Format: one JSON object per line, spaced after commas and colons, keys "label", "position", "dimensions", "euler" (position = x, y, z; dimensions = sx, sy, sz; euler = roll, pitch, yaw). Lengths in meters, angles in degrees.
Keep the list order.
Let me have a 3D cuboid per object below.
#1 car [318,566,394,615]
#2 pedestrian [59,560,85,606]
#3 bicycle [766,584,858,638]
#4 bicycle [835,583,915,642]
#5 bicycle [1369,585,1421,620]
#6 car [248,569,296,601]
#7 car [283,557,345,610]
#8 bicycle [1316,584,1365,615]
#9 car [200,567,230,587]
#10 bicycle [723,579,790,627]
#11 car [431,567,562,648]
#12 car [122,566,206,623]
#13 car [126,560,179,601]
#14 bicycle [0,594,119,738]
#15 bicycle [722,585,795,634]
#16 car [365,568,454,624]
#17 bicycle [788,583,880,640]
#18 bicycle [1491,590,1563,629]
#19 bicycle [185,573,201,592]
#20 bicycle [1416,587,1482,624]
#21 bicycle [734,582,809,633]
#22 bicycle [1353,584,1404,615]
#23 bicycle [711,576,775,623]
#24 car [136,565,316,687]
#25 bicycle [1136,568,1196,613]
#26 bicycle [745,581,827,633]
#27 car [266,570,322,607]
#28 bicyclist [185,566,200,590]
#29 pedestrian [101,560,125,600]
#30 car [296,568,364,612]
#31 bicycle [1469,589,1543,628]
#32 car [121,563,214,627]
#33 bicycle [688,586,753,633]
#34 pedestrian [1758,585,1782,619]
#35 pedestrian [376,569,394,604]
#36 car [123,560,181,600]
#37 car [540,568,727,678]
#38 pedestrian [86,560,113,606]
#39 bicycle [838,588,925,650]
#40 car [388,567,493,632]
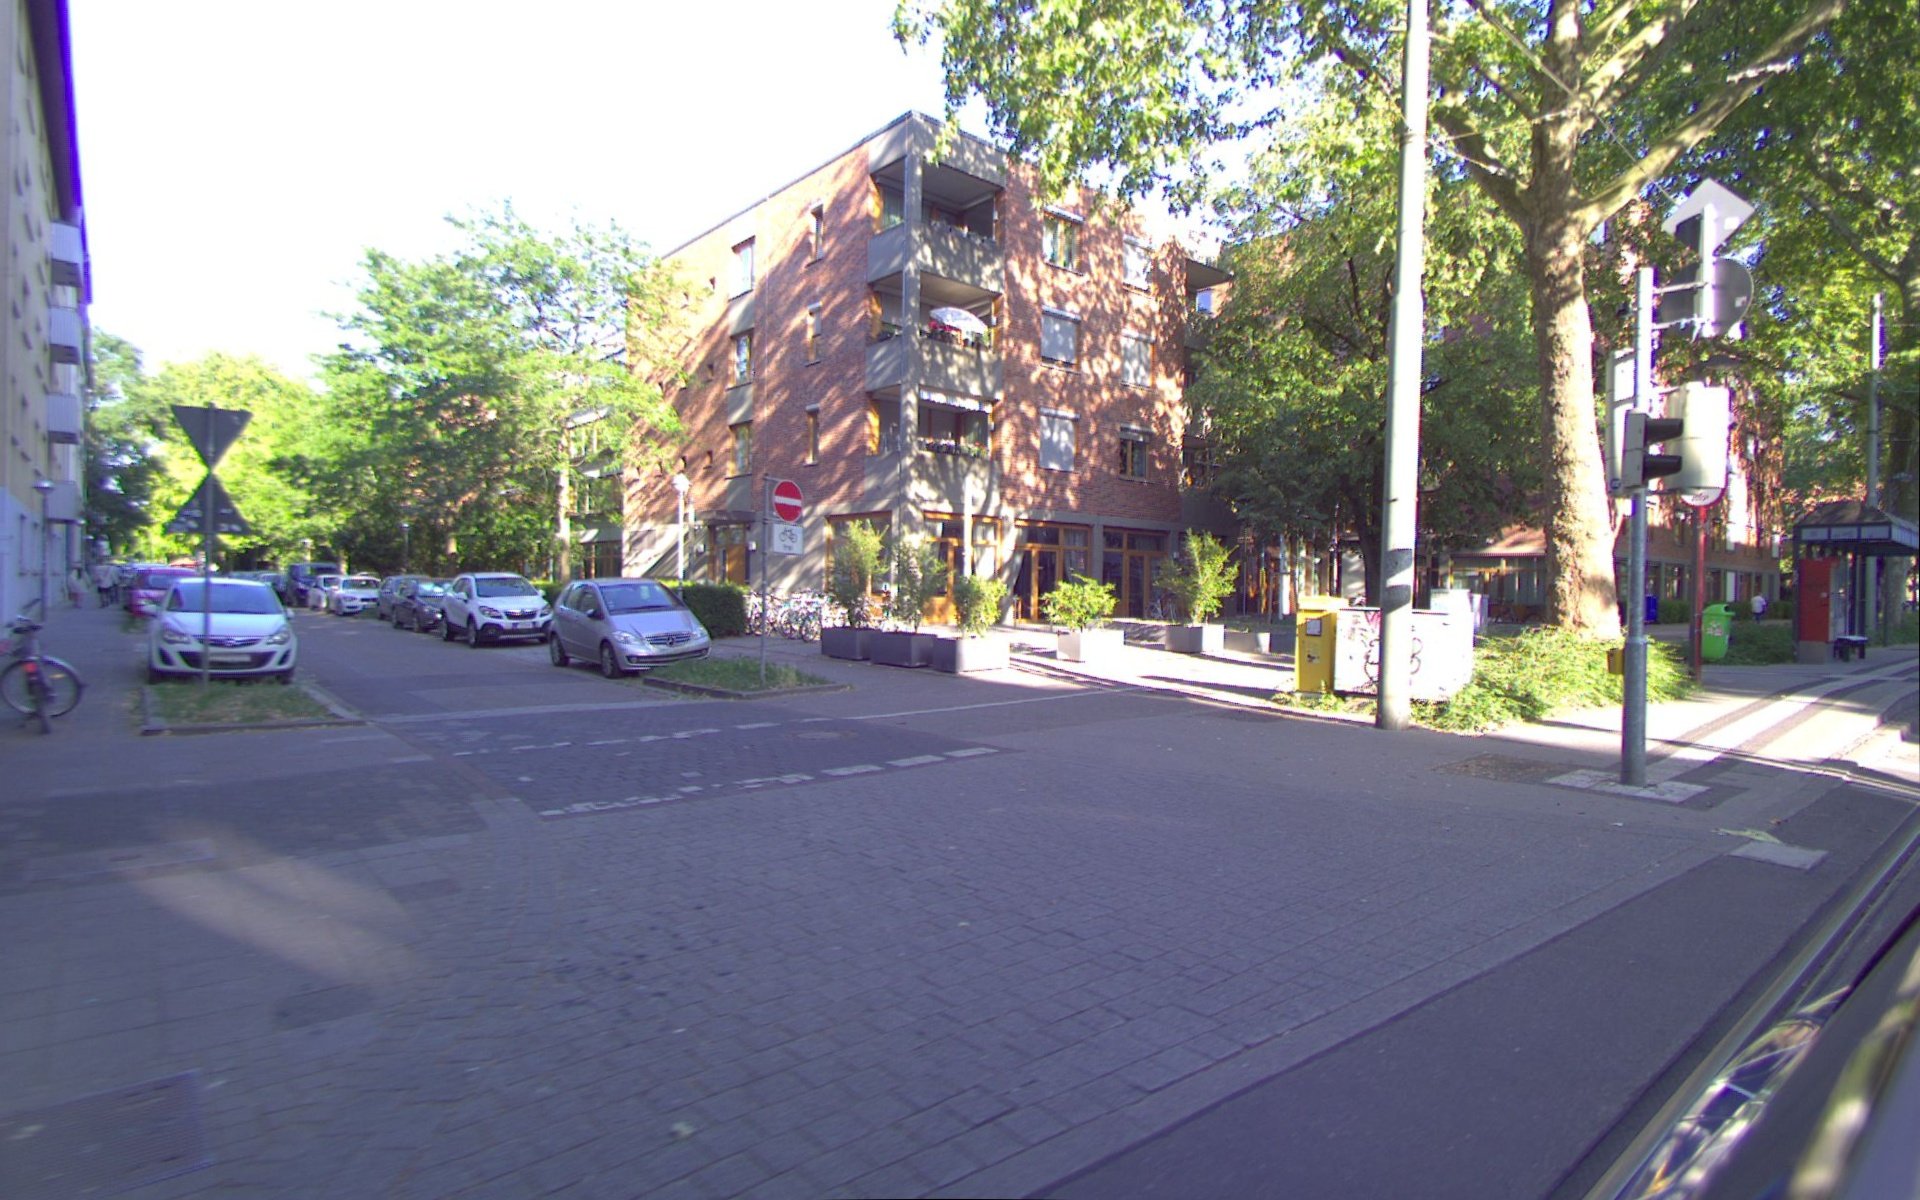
{"label": "car", "position": [-22.584, -0.381, 37.780], "dimensions": [1.833, 1.714, 3.869], "euler": [0, 1, -40]}
{"label": "pedestrian", "position": [-31.319, -0.604, 35.683], "dimensions": [0.770, 1.605, 0.645], "euler": [1, 1, 44]}
{"label": "bicycle", "position": [-3.417, 0.240, 23.414], "dimensions": [2.015, 1.171, 0.732], "euler": [0, 3, -41]}
{"label": "bicycle", "position": [-1.790, 0.244, 21.460], "dimensions": [0.600, 1.171, 1.670], "euler": [3, 3, 45]}
{"label": "bicycle", "position": [15.874, 0.090, 36.963], "dimensions": [0.561, 1.171, 1.684], "euler": [0, 3, -35]}
{"label": "car", "position": [-38.566, -0.838, 56.724], "dimensions": [1.833, 1.714, 3.869], "euler": [0, 1, -40]}
{"label": "car", "position": [-28.885, -0.767, 45.204], "dimensions": [1.833, 2.260, 3.869], "euler": [0, 1, -40]}
{"label": "bicycle", "position": [15.302, -0.022, 40.709], "dimensions": [1.997, 1.171, 0.709], "euler": [0, 2, -31]}
{"label": "car", "position": [-64.730, -1.993, 87.924], "dimensions": [1.833, 1.714, 3.869], "euler": [0, 1, -40]}
{"label": "bicycle", "position": [-5.232, 0.071, 26.082], "dimensions": [0.563, 1.171, 1.670], "euler": [3, 3, 44]}
{"label": "car", "position": [-10.966, 0.112, 23.799], "dimensions": [1.833, 1.714, 3.869], "euler": [0, 1, -40]}
{"label": "car", "position": [-24.478, -0.190, 31.072], "dimensions": [1.833, 1.572, 3.869], "euler": [3, -1, -40]}
{"label": "car", "position": [-39.561, -0.974, 49.565], "dimensions": [1.833, 1.830, 3.869], "euler": [3, -1, -40]}
{"label": "bicycle", "position": [-8.842, 0.572, 9.592], "dimensions": [1.781, 1.171, 0.739], "euler": [3, 2, 28]}
{"label": "bicycle", "position": [-5.042, 0.230, 25.355], "dimensions": [1.668, 1.171, 0.662], "euler": [0, 3, -42]}
{"label": "car", "position": [-18.119, -0.159, 33.227], "dimensions": [1.833, 1.714, 3.869], "euler": [0, 1, -40]}
{"label": "bicycle", "position": [-2.762, 0.241, 22.268], "dimensions": [1.946, 1.171, 0.638], "euler": [0, 3, -38]}
{"label": "bicycle", "position": [18.761, 0.290, 33.520], "dimensions": [0.560, 1.171, 2.041], "euler": [1, 3, -30]}
{"label": "bicycle", "position": [-44.068, -0.986, 58.134], "dimensions": [0.640, 1.069, 1.542], "euler": [0, 1, -41]}
{"label": "bicycle", "position": [17.095, 0.177, 35.420], "dimensions": [0.561, 1.171, 2.039], "euler": [0, 3, -35]}
{"label": "bicycle", "position": [-4.606, 0.166, 24.769], "dimensions": [1.668, 1.171, 0.662], "euler": [0, 3, -42]}
{"label": "bicycle", "position": [17.546, -0.034, 42.405], "dimensions": [1.930, 1.171, 0.727], "euler": [3, 2, 25]}
{"label": "bicycle", "position": [-5.673, -0.036, 26.556], "dimensions": [0.519, 1.171, 1.674], "euler": [3, 3, 39]}
{"label": "car", "position": [-11.011, 0.322, 15.082], "dimensions": [1.833, 1.572, 3.869], "euler": [3, -1, -40]}
{"label": "bicycle", "position": [5.714, -0.283, 28.197], "dimensions": [0.560, 1.171, 1.939], "euler": [1, 2, -25]}
{"label": "bicycle", "position": [-4.118, 0.159, 24.059], "dimensions": [1.819, 1.171, 0.662], "euler": [0, 3, -42]}
{"label": "car", "position": [-32.121, -0.587, 48.774], "dimensions": [1.833, 1.714, 3.869], "euler": [0, 1, -40]}
{"label": "bicyclist", "position": [-44.062, -1.283, 58.132], "dimensions": [0.640, 1.361, 0.697], "euler": [0, 1, -41]}
{"label": "pedestrian", "position": [-34.210, -0.814, 40.857], "dimensions": [0.770, 1.605, 0.679], "euler": [1, 1, 44]}
{"label": "car", "position": [-25.878, -0.445, 41.538], "dimensions": [1.833, 1.714, 3.869], "euler": [0, 1, -40]}
{"label": "bicycle", "position": [17.899, 0.266, 33.208], "dimensions": [0.562, 1.171, 2.036], "euler": [0, 3, -39]}
{"label": "car", "position": [-21.881, -0.162, 27.892], "dimensions": [1.833, 1.572, 3.869], "euler": [3, -1, -40]}
{"label": "bicycle", "position": [-6.330, 0.225, 26.815], "dimensions": [0.562, 1.171, 1.674], "euler": [3, 3, 38]}
{"label": "pedestrian", "position": [40.360, 0.106, 50.423], "dimensions": [0.901, 1.680, 0.768], "euler": [0, 1, -40]}
{"label": "pedestrian", "position": [-26.563, -0.631, 46.785], "dimensions": [0.643, 1.605, 0.772], "euler": [0, 1, -35]}
{"label": "car", "position": [-35.271, -0.882, 44.154], "dimensions": [1.833, 1.572, 3.869], "euler": [3, -1, -40]}
{"label": "car", "position": [-5.866, 0.319, 17.939], "dimensions": [1.833, 1.714, 3.869], "euler": [0, 1, -40]}
{"label": "pedestrian", "position": [-30.894, -0.614, 36.320], "dimensions": [0.770, 1.605, 0.679], "euler": [1, 1, 44]}
{"label": "bicycle", "position": [-1.554, 0.364, 20.211], "dimensions": [1.666, 1.171, 0.602], "euler": [0, 2, -38]}
{"label": "car", "position": [-14.767, -0.063, 28.675], "dimensions": [1.833, 1.714, 3.869], "euler": [0, 1, -40]}
